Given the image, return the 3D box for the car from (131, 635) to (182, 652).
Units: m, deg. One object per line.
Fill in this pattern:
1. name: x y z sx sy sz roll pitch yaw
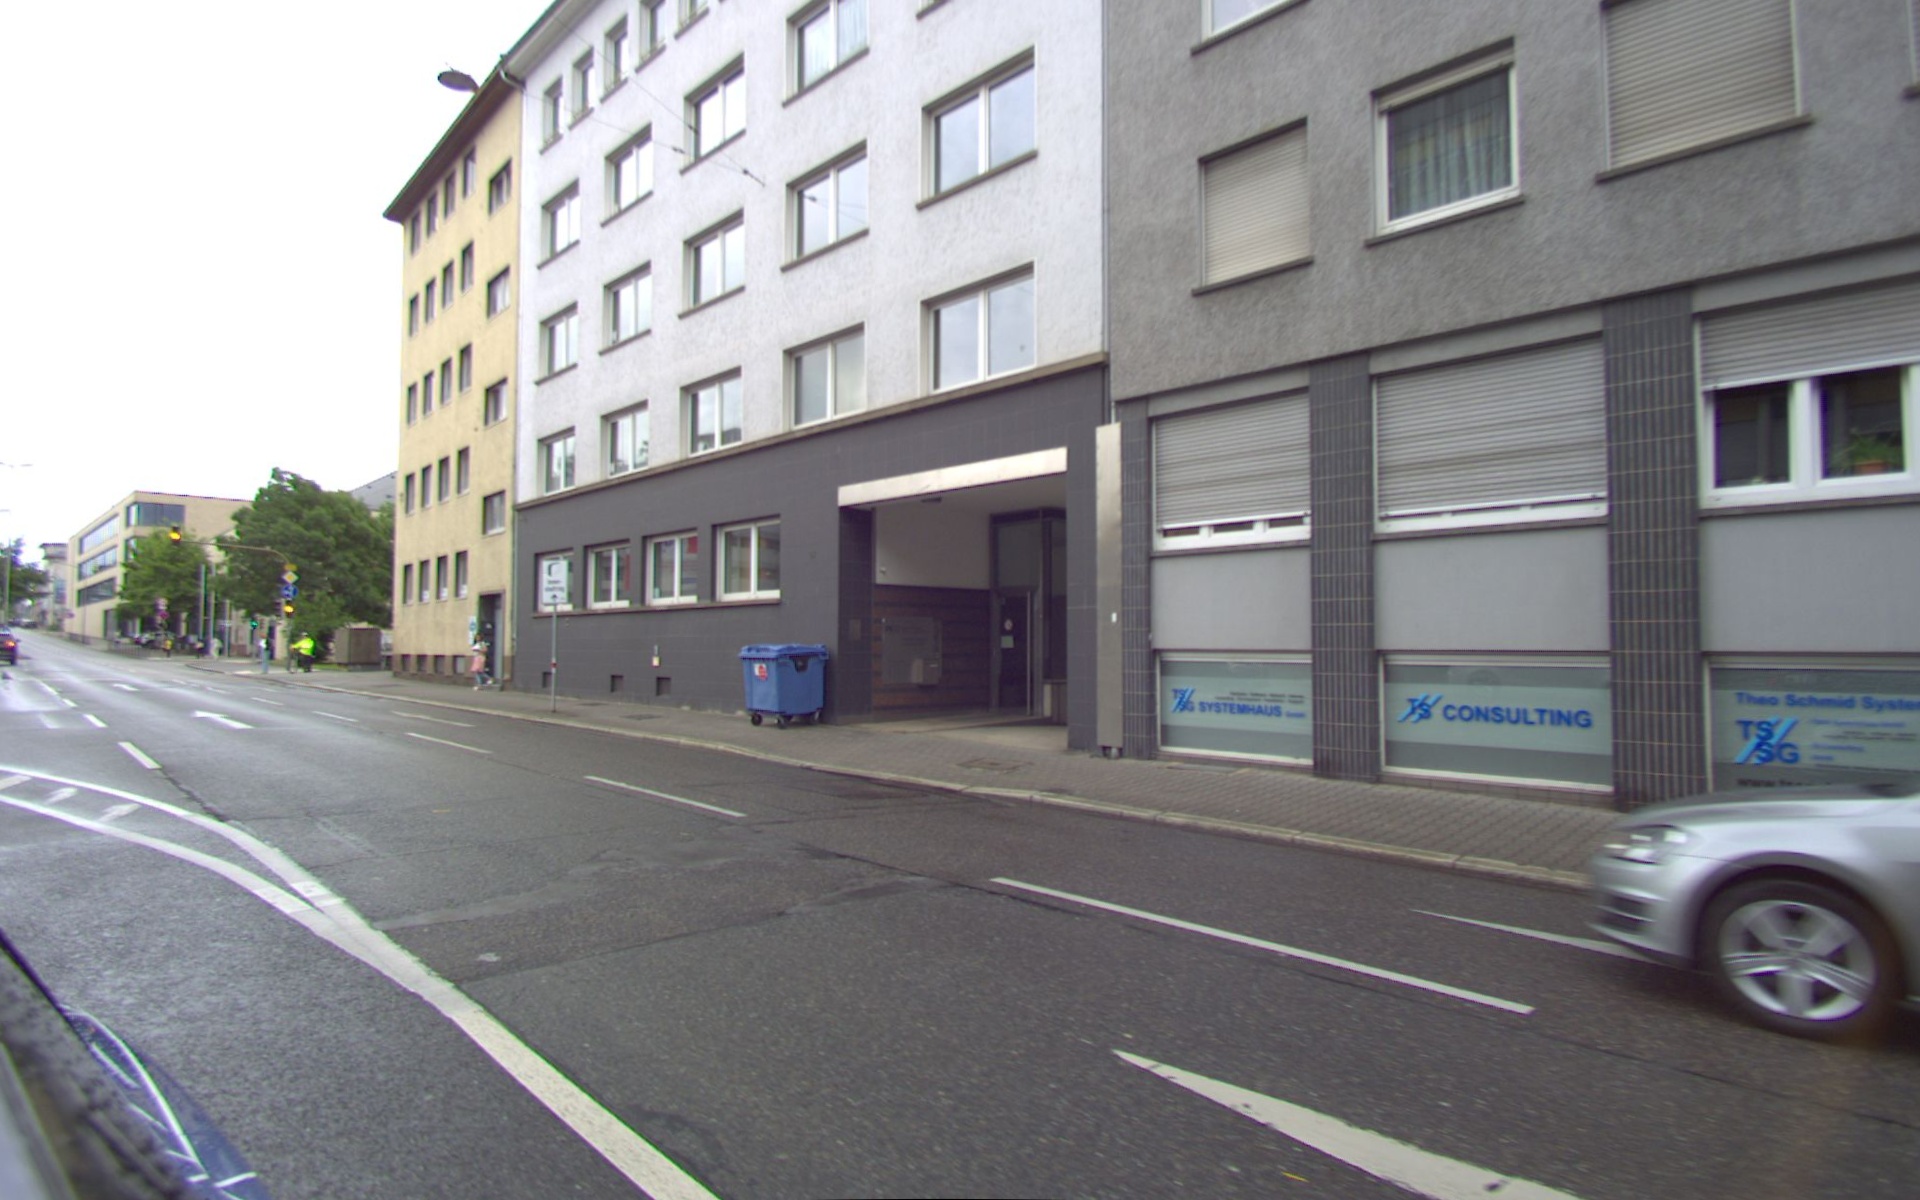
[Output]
1. car: -80.809 4.347 101.799 3.937 1.597 2.003 1 -2 -41

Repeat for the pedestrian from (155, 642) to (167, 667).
1. pedestrian: -58.226 3.939 73.707 0.692 1.785 0.587 -2 -2 44

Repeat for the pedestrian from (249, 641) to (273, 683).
1. pedestrian: -28.844 2.551 41.771 0.708 1.702 0.812 1 -2 -43

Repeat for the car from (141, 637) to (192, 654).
1. car: -78.743 4.513 100.426 3.937 1.597 2.003 1 -2 -41

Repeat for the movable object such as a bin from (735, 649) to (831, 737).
1. movable object such as a bin: -2.913 1.494 16.638 1.064 1.334 1.191 1 -2 -44

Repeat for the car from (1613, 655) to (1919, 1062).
1. car: 4.917 0.965 3.401 4.297 1.427 1.806 -3 -7 45

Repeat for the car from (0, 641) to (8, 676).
1. car: -46.438 2.749 48.001 1.786 1.607 4.299 3 -4 -43

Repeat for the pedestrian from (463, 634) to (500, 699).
1. pedestrian: -12.955 1.785 27.394 0.708 1.702 0.812 1 -2 -43

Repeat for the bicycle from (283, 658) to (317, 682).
1. bicycle: -27.072 2.844 41.494 0.874 0.914 1.869 1 -2 -42

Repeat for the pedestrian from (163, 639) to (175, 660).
1. pedestrian: -58.699 3.650 75.088 0.692 1.528 0.587 -2 -2 44

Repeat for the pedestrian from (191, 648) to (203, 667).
1. pedestrian: -55.801 4.200 74.031 0.613 1.386 0.475 1 -2 -44

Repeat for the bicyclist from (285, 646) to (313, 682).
1. bicyclist: -27.060 2.615 41.435 0.832 1.453 0.813 1 -2 -43
